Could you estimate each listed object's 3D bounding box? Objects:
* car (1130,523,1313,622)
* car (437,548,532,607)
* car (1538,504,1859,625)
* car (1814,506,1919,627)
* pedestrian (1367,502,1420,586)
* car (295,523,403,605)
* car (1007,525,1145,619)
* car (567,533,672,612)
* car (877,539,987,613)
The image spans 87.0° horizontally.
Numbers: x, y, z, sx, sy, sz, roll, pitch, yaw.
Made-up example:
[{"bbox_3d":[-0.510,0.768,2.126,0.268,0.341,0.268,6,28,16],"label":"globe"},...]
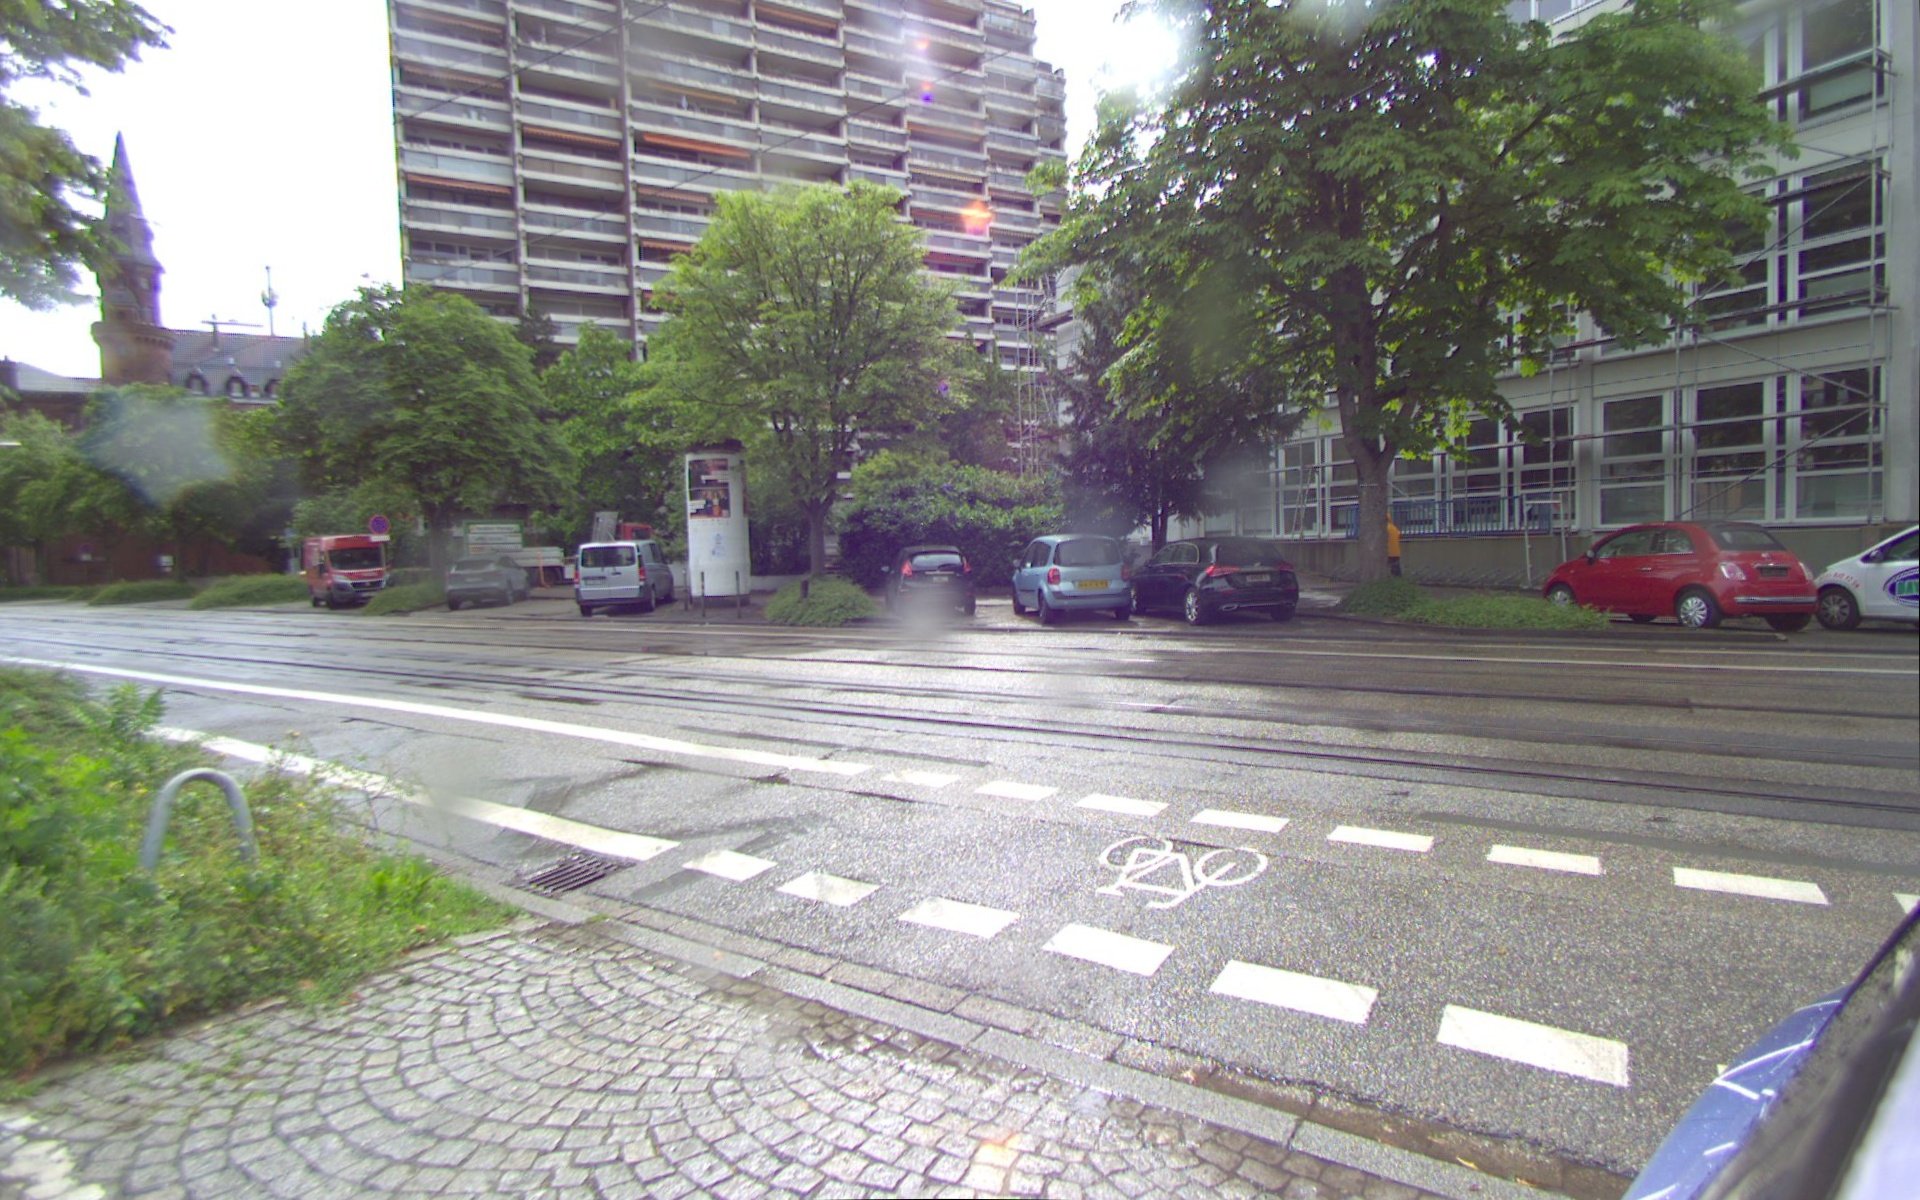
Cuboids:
[{"bbox_3d":[4.427,-0.529,17.694,1.706,1.487,3.658,-2,3,-10],"label":"car"},{"bbox_3d":[-15.113,-0.777,32.386,1.748,1.583,4.057,-2,5,-11],"label":"car"},{"bbox_3d":[10.223,-0.537,14.344,1.706,1.487,3.415,-1,3,-10],"label":"car"},{"bbox_3d":[12.598,-0.417,12.092,1.676,1.469,3.414,-2,3,-7],"label":"car"},{"bbox_3d":[9.444,-1.206,22.085,0.693,1.764,0.840,-2,1,-6],"label":"pedestrian"},{"bbox_3d":[-21.532,-1.280,35.559,2.263,2.665,5.475,-3,3,-41],"label":"car"},{"bbox_3d":[2.119,-0.587,19.506,1.674,1.569,3.657,-2,3,-9],"label":"car"},{"bbox_3d":[-9.176,-0.809,27.682,1.898,1.919,4.655,-2,3,-9],"label":"car"},{"bbox_3d":[-0.697,-0.570,22.108,1.733,1.414,3.658,-3,3,-12],"label":"car"}]
